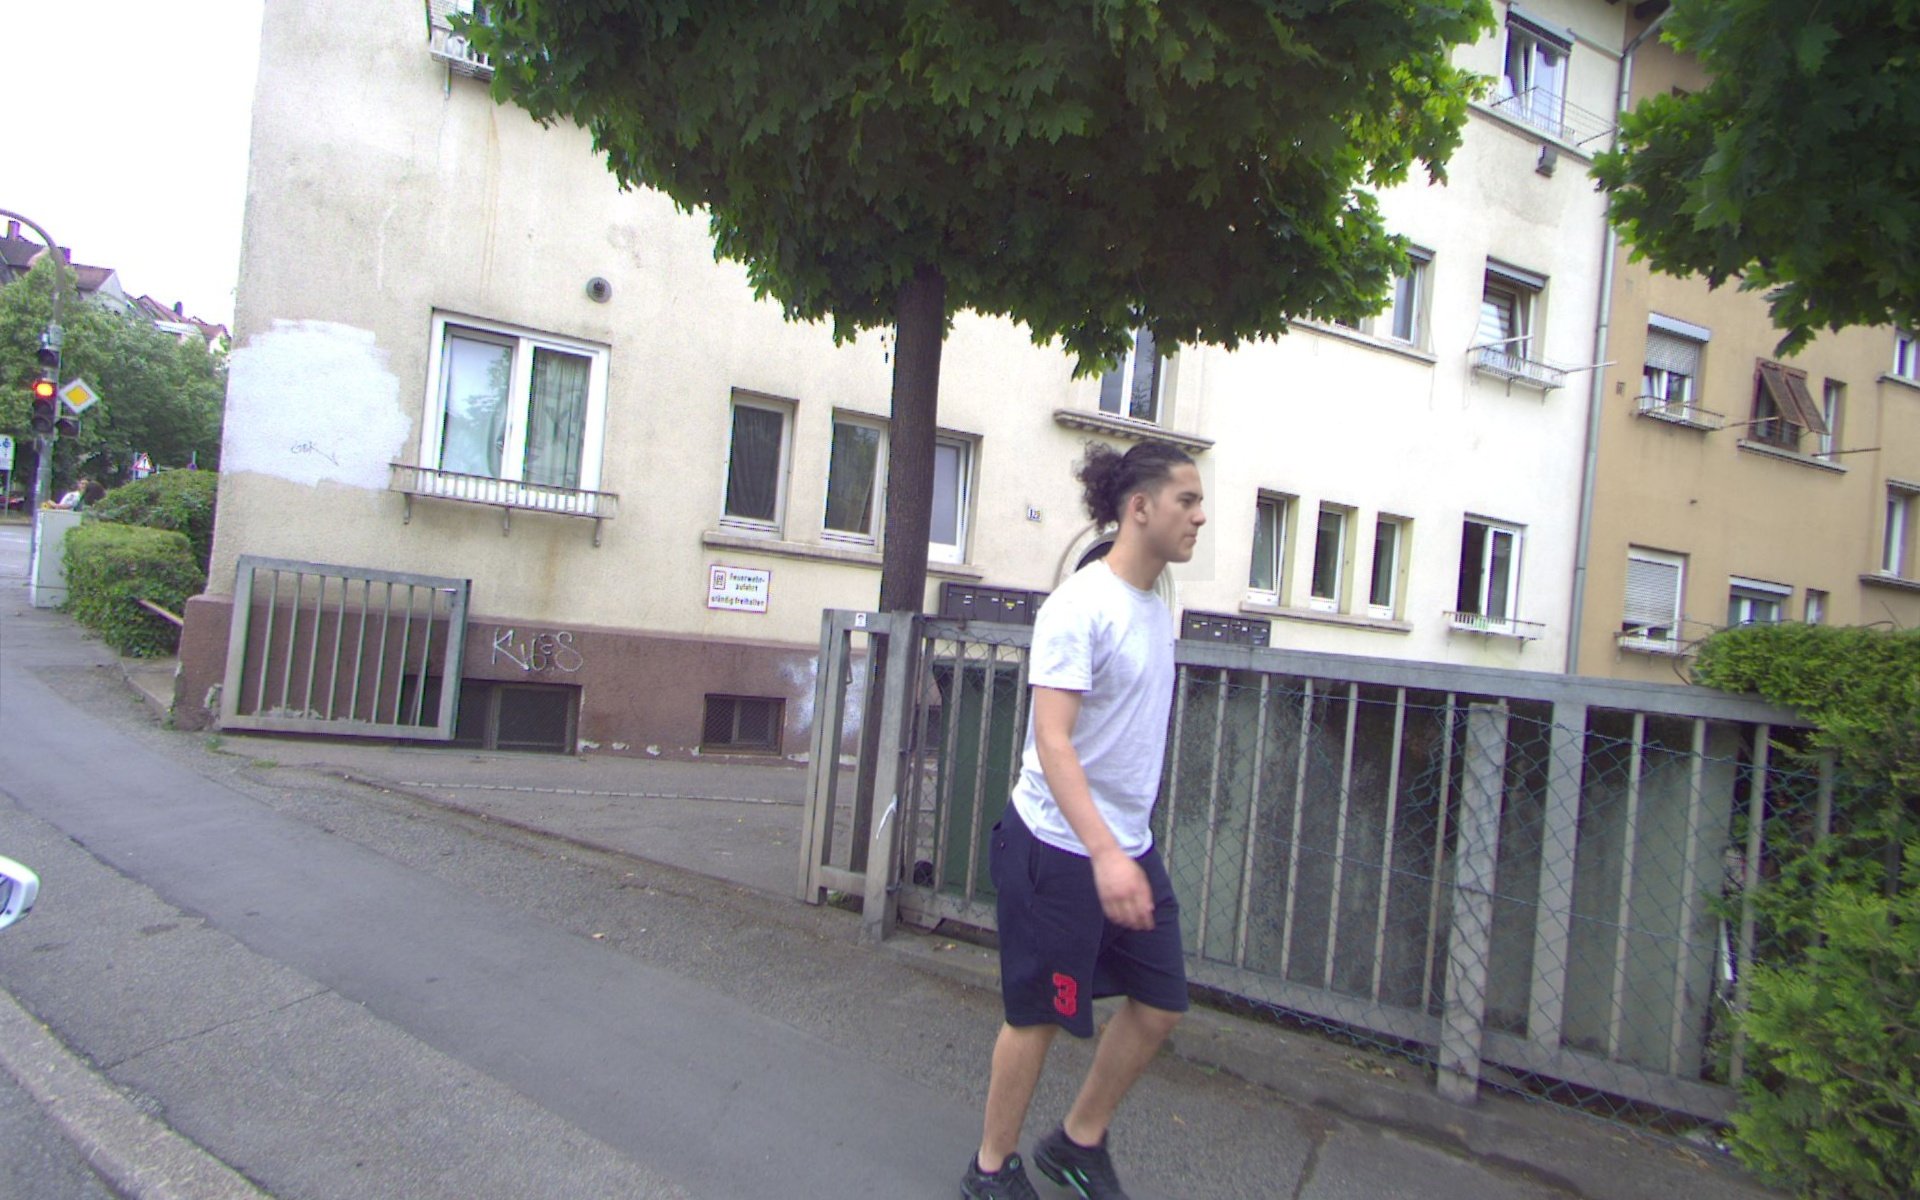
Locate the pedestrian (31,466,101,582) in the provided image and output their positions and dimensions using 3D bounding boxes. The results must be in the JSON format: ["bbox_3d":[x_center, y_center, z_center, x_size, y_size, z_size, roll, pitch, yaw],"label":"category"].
[{"bbox_3d":[-14.992,-1.274,16.876,0.581,1.840,0.529,7,-2,32],"label":"pedestrian"}]

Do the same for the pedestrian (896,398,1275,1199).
[{"bbox_3d":[0.299,0.507,2.231,0.459,1.761,0.693,7,3,29],"label":"pedestrian"}]

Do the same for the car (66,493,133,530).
[{"bbox_3d":[-62.951,-6.443,73.671,1.970,2.036,3.991,9,-3,-15],"label":"car"}]

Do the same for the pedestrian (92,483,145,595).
[{"bbox_3d":[-14.557,-1.044,17.399,0.462,1.857,0.320,9,-2,-44],"label":"pedestrian"}]

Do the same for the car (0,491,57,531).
[{"bbox_3d":[-60.851,-5.800,64.972,1.970,2.036,3.992,8,-3,-15],"label":"car"}]
